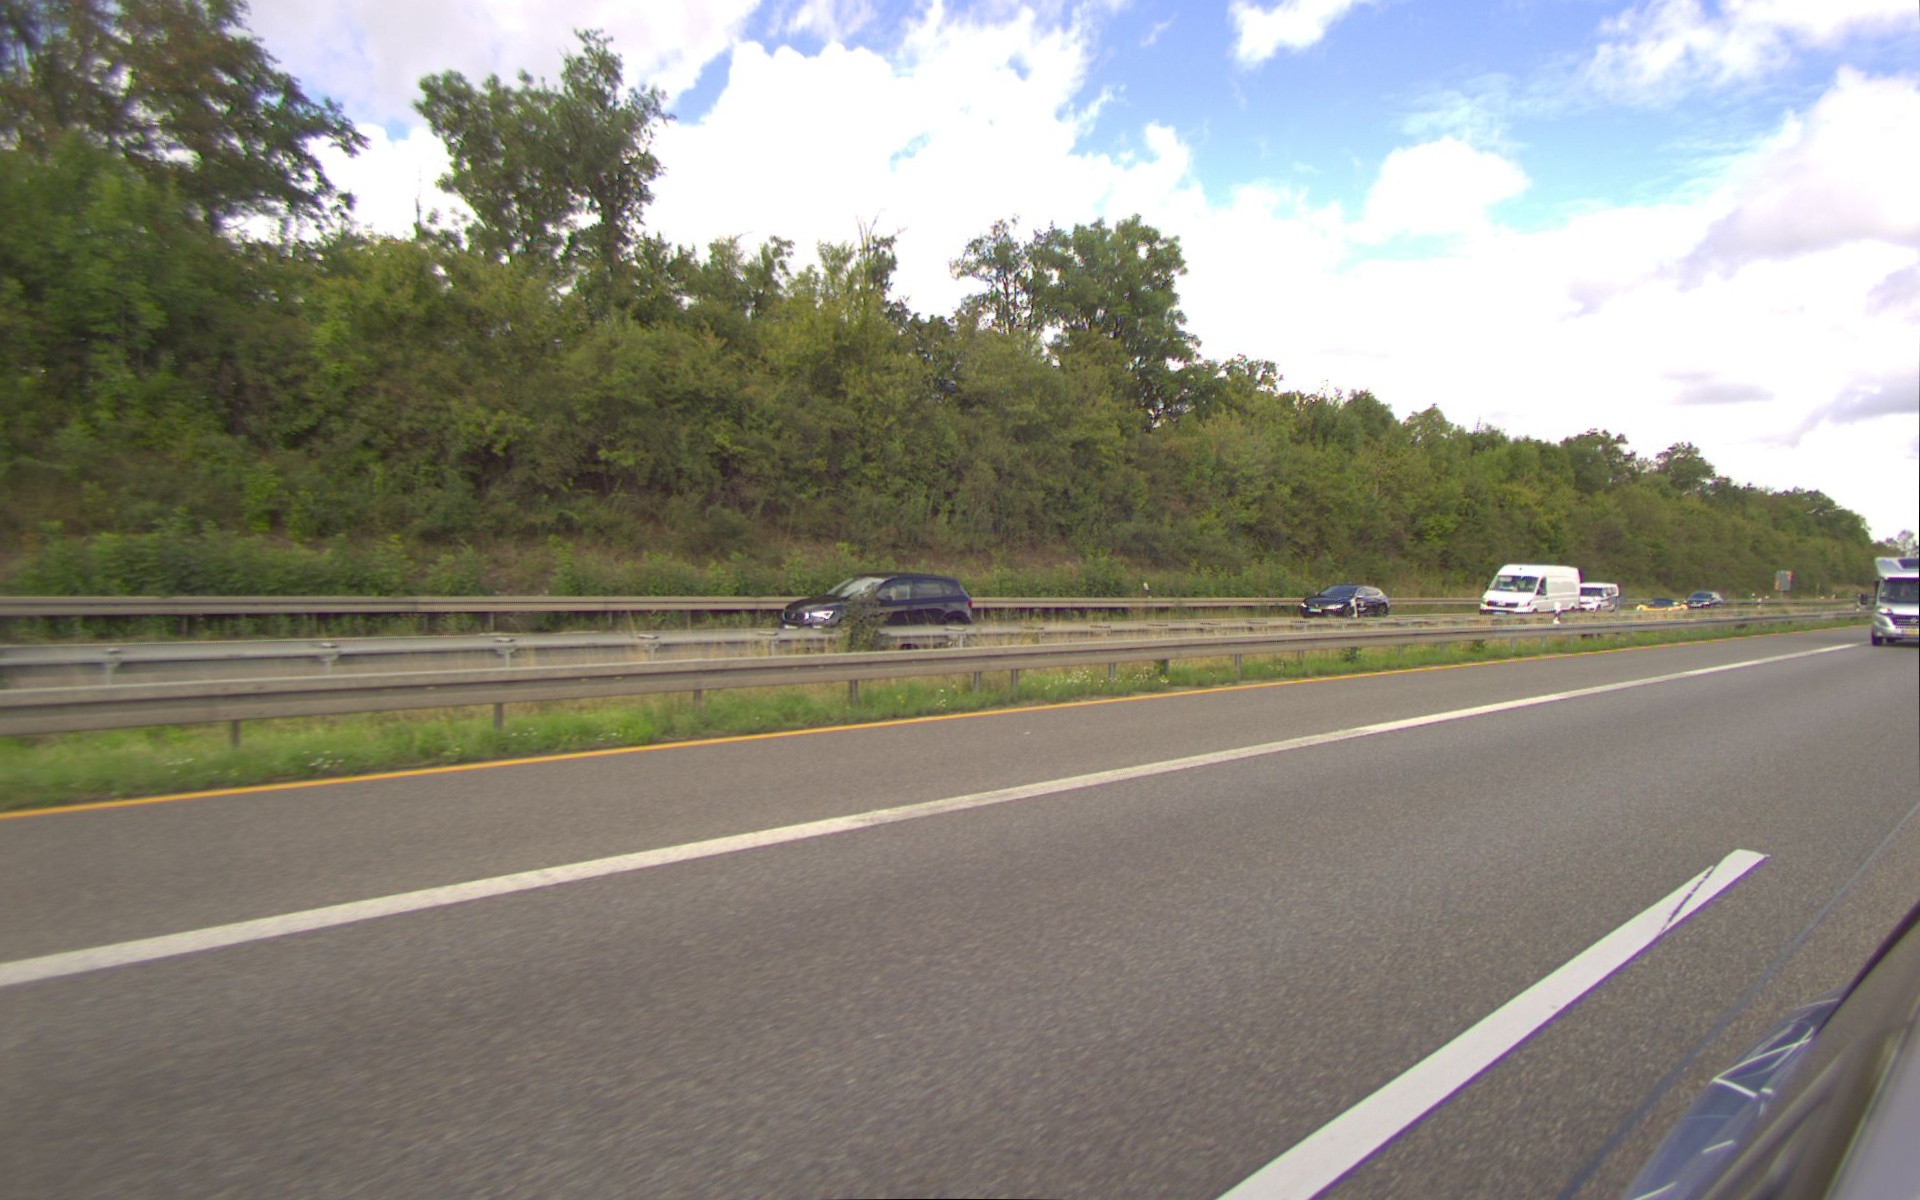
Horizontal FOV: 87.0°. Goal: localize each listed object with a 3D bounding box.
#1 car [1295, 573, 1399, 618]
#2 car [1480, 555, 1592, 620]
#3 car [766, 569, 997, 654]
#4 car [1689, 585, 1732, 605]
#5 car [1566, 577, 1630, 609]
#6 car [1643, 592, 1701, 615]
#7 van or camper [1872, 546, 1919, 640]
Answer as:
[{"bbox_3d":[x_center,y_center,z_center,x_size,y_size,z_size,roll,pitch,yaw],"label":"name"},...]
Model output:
[{"bbox_3d":[15.300,-0.185,39.866,4.682,1.622,1.847,0,3,-42],"label":"car"},{"bbox_3d":[24.735,-0.517,43.318,6.625,2.586,2.074,0,2,-41],"label":"car"},{"bbox_3d":[-1.510,0.190,20.626,4.446,1.502,1.847,0,3,-41],"label":"car"},{"bbox_3d":[55.902,-0.400,75.368,4.095,1.433,1.715,0,1,-41],"label":"car"},{"bbox_3d":[37.095,-0.388,58.788,4.680,1.774,1.847,0,0,-41],"label":"car"},{"bbox_3d":[39.244,0.197,55.732,4.096,1.196,1.715,0,1,-41],"label":"car"},{"bbox_3d":[31.112,-0.220,32.021,7.527,2.756,2.473,0,0,-41],"label":"van or camper"}]
